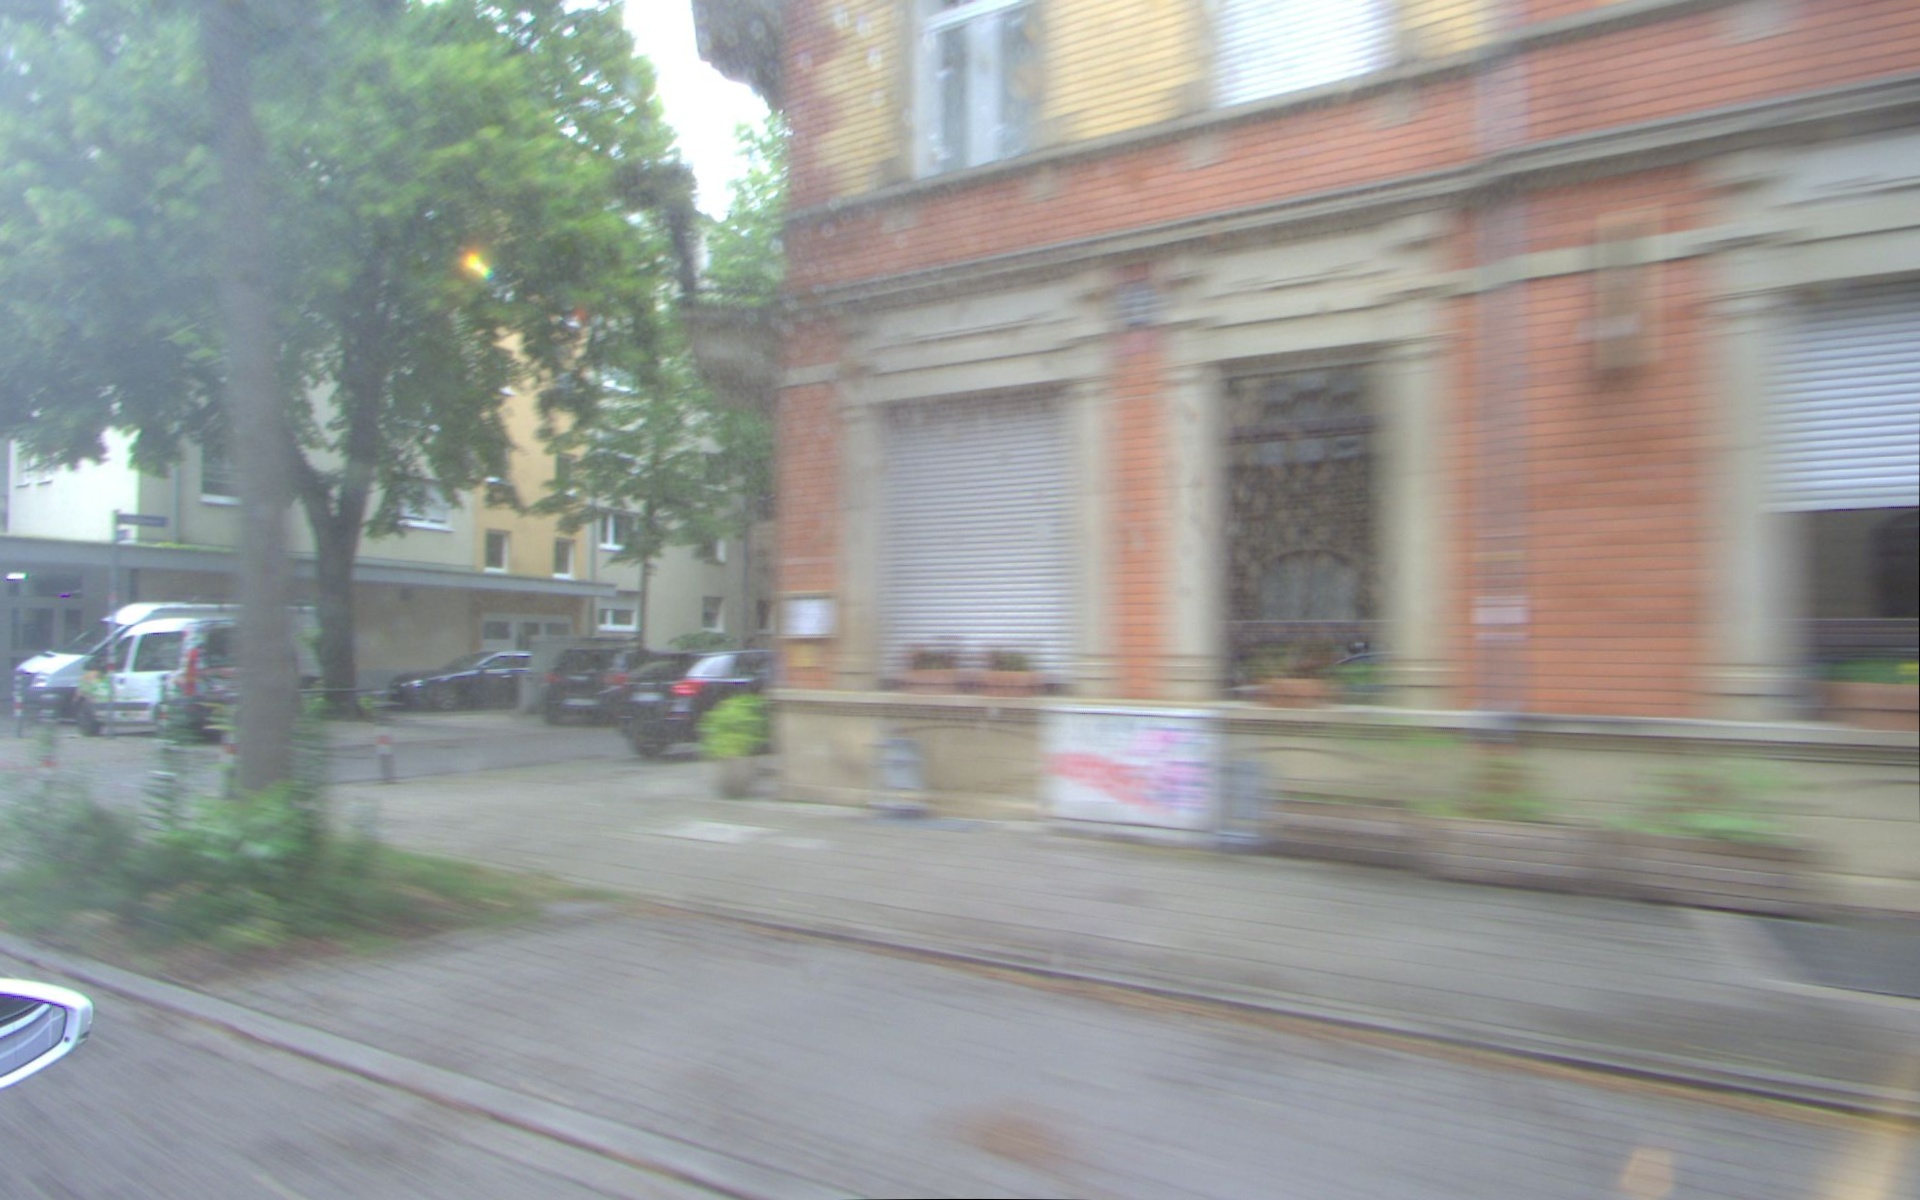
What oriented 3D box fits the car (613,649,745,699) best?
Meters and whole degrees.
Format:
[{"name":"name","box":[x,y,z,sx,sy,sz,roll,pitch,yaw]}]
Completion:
[{"name":"car","box":[-8.608,2.242,30.917,1.612,1.446,3.682,-1,-3,39]}]

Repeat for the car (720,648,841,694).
[{"name":"car","box":[-6.086,2.392,34.349,1.753,1.436,3.975,-1,-3,36]}]

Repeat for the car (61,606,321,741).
[{"name":"car","box":[-11.860,1.062,15.410,3.940,1.842,1.769,-1,-2,30]}]

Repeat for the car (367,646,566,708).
[{"name":"car","box":[-12.502,1.907,25.553,1.884,1.446,4.153,-1,-3,39]}]

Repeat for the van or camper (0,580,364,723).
[{"name":"van or camper","box":[-16.154,1.033,21.114,2.105,2.527,5.762,3,-1,32]}]

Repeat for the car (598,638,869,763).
[{"name":"car","box":[-3.153,1.390,14.635,1.638,1.559,3.815,-3,-4,33]}]

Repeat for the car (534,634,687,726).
[{"name":"car","box":[-6.787,1.515,19.869,1.652,1.601,3.955,2,-2,-1]}]
